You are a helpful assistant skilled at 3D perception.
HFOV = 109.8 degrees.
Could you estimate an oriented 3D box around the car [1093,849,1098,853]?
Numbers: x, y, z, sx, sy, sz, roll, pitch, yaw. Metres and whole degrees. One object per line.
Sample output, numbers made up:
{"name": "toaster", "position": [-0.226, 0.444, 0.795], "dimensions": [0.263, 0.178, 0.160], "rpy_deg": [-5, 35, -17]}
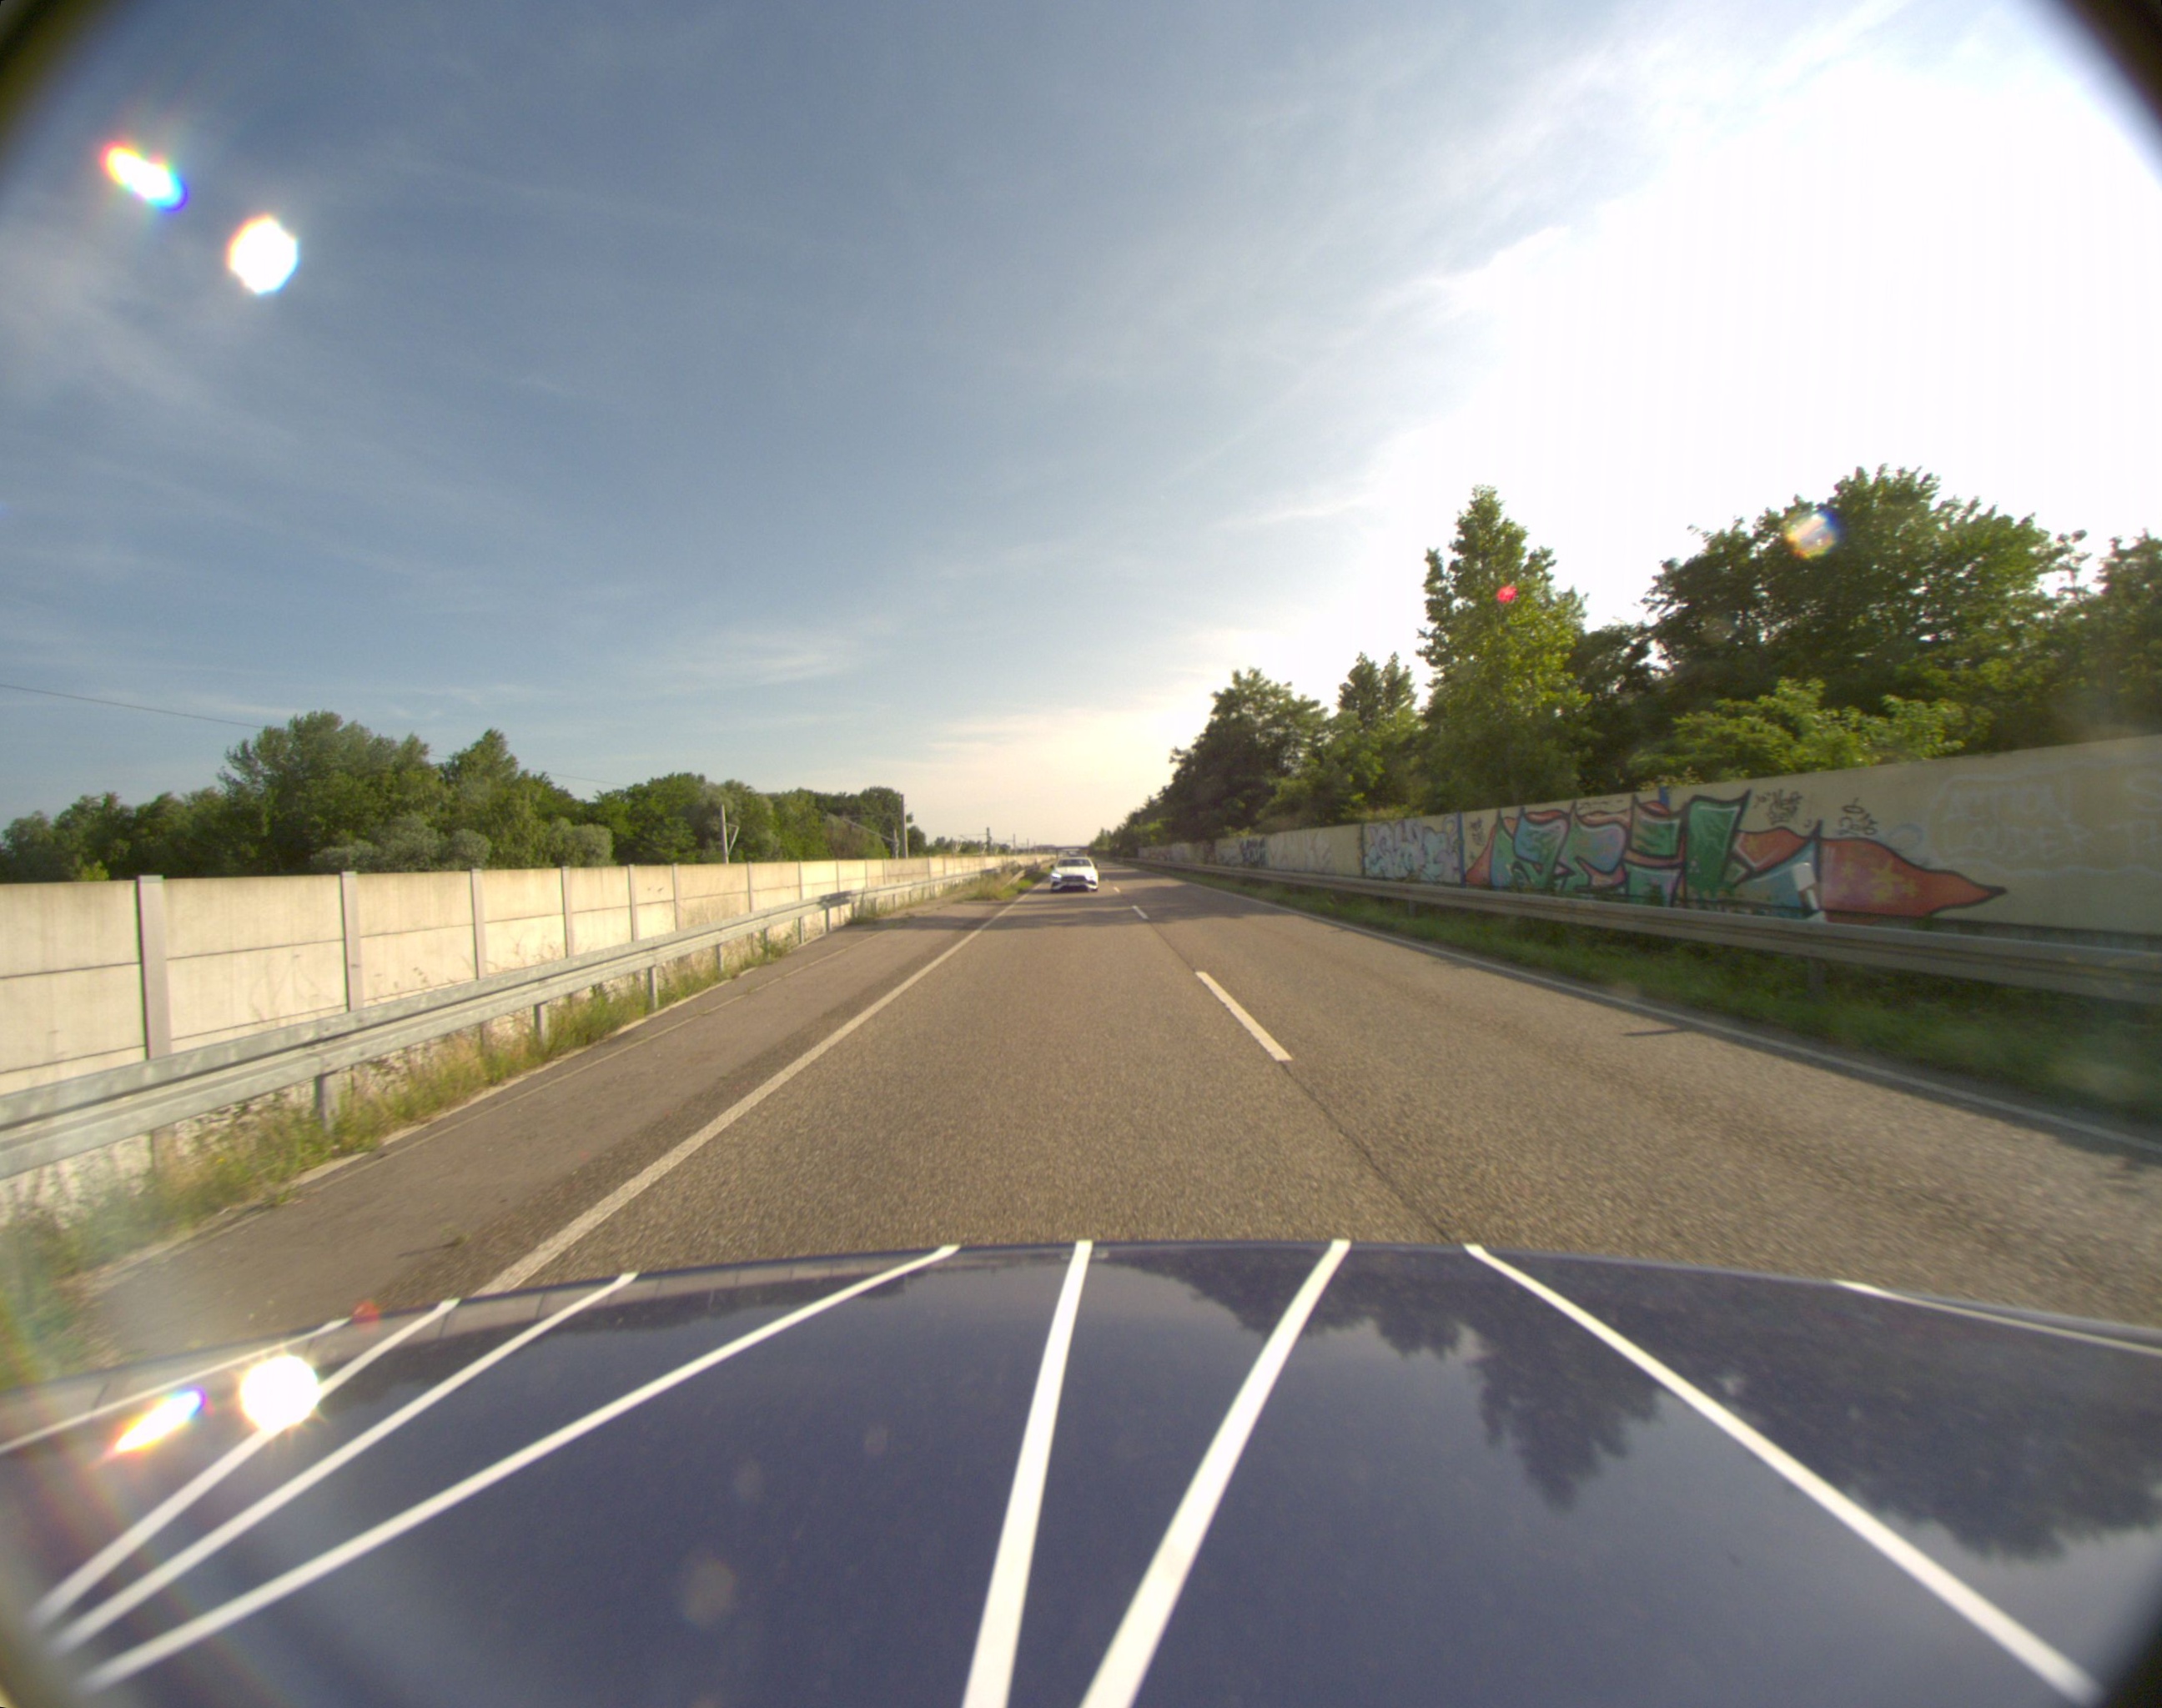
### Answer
{"name": "car", "position": [4.844, -1.148, 258.645], "dimensions": [1.724, 1.386, 4.360], "rpy_deg": [-1, 1, 0]}

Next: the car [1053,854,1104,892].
{"name": "car", "position": [-0.116, 0.738, 31.835], "dimensions": [1.953, 1.430, 4.611], "rpy_deg": [-1, 0, 0]}
